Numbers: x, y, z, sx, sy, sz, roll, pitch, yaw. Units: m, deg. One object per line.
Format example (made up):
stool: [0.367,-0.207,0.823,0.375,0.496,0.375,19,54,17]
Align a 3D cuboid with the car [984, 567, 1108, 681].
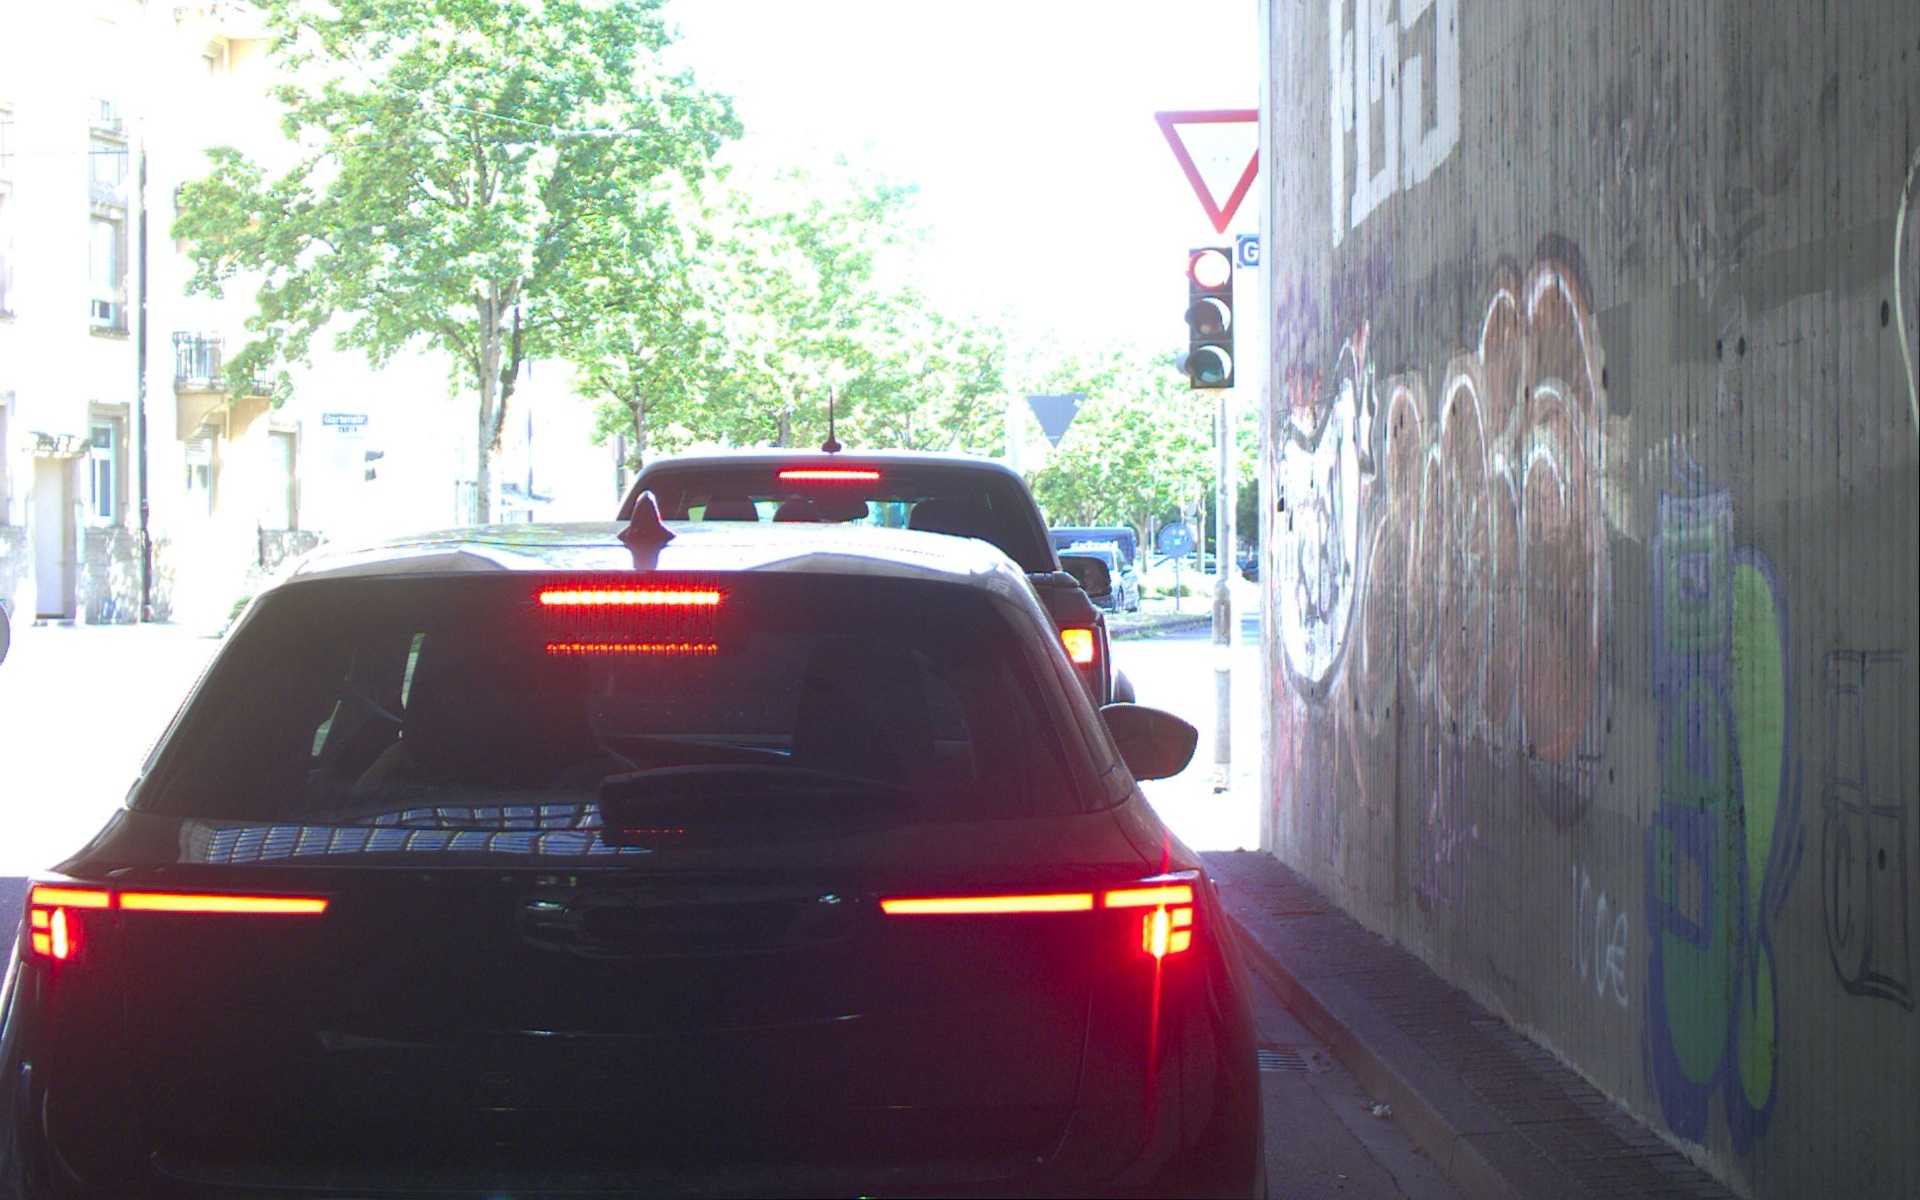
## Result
car: [1.595,0.406,62.313,1.994,1.963,4.163,1,1,5]

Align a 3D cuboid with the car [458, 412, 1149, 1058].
car: [-0.474,0.354,11.982,1.993,1.865,4.000,0,1,-1]

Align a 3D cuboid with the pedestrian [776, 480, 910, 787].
pedestrian: [-0.669,0.186,19.874,0.731,1.728,0.874,1,0,-1]

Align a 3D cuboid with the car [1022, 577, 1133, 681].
car: [2.381,0.546,68.710,1.994,1.963,4.163,1,1,5]

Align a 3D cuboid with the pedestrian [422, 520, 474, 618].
pedestrian: [-10.957,-0.668,73.592,0.892,2.080,0.808,1,0,7]

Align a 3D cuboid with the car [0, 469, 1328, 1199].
car: [-0.490,0.570,5.995,1.764,1.566,4.001,1,2,-1]
